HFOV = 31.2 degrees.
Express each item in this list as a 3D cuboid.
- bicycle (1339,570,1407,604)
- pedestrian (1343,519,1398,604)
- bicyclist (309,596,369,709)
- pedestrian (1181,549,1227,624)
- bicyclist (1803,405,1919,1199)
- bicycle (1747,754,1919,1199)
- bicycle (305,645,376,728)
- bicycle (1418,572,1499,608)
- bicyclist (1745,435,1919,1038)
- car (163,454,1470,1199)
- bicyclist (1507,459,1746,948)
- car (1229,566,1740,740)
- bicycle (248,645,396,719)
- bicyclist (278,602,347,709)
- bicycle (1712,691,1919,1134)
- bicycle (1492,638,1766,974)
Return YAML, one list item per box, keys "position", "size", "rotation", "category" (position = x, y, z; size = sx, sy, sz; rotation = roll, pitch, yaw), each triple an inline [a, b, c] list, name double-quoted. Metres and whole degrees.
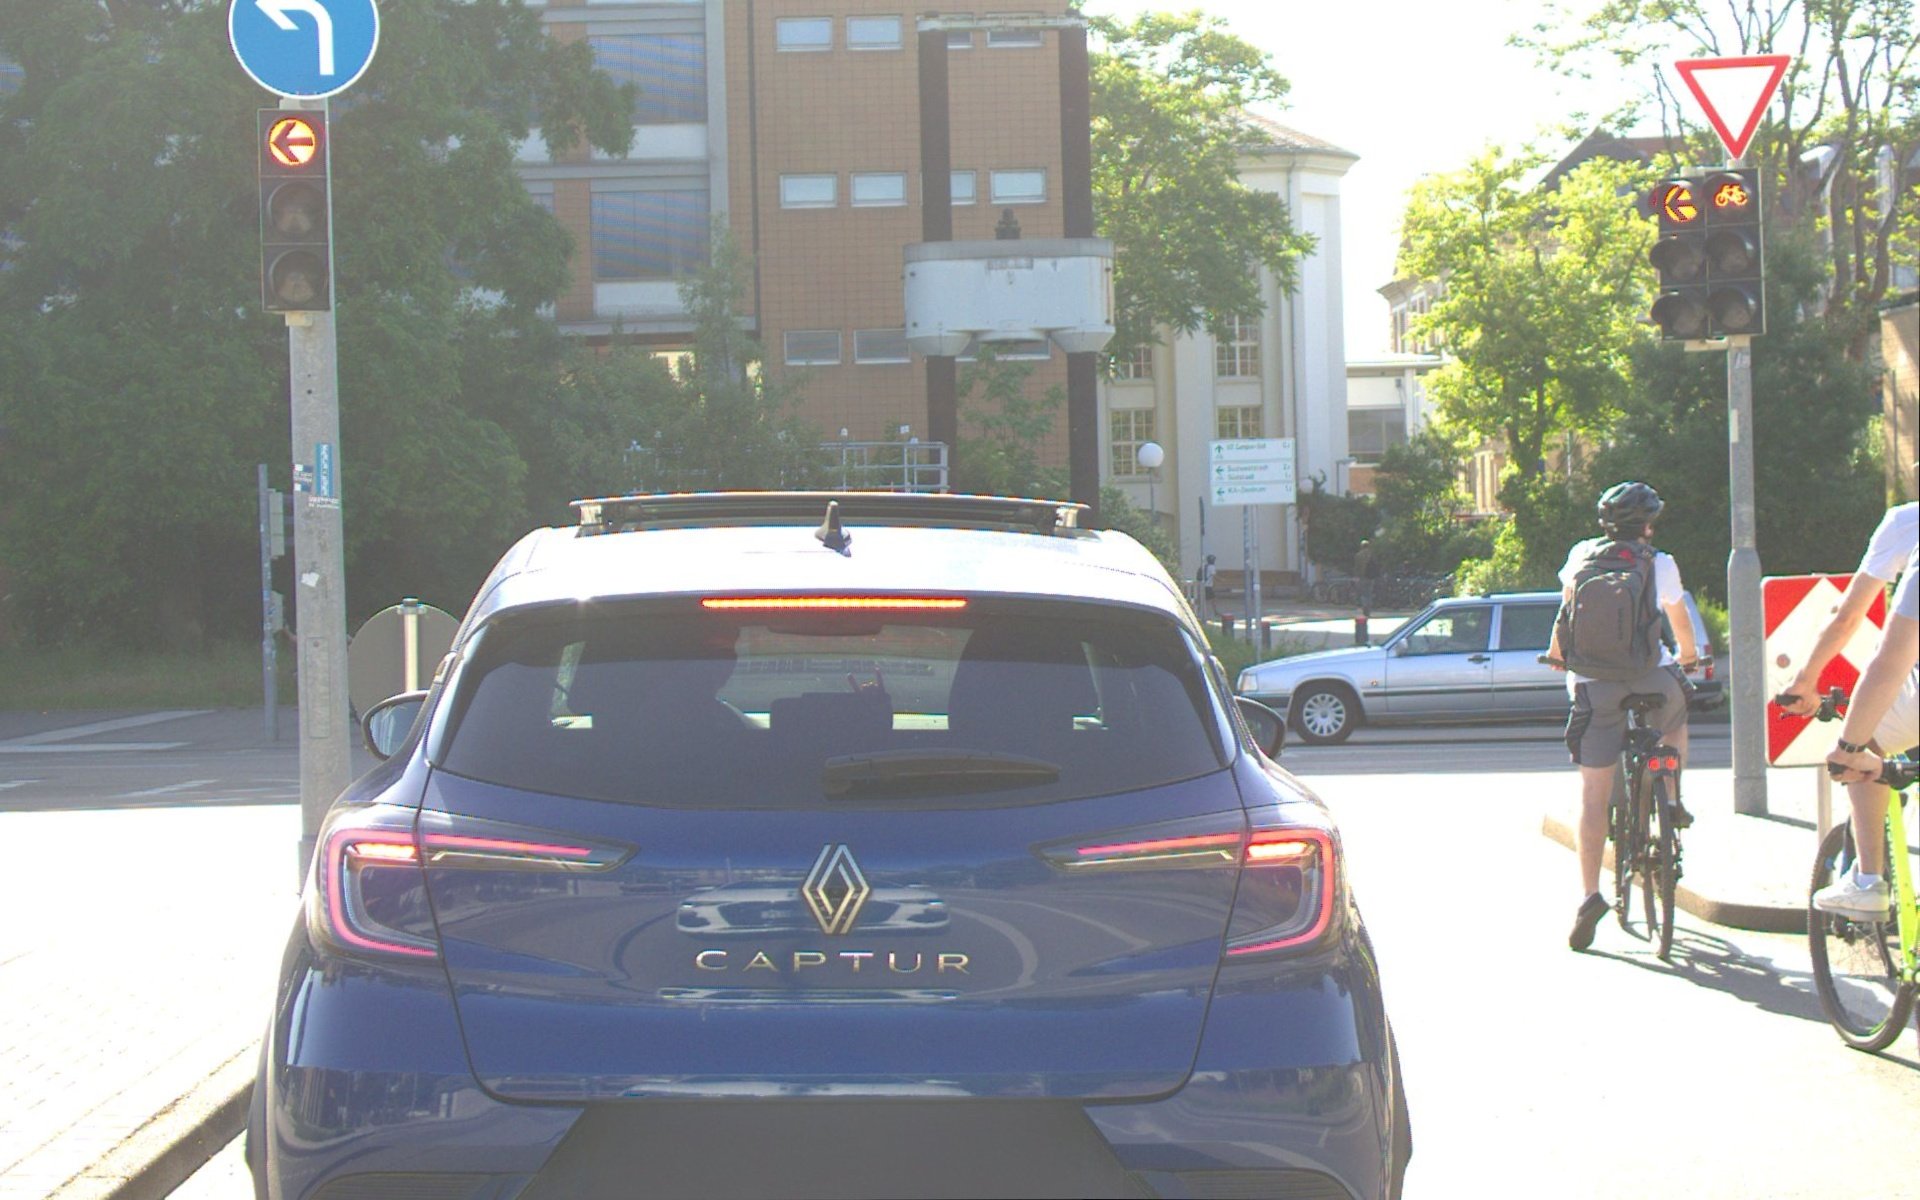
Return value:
- position: [11.399, -0.349, 94.847]
  size: [1.771, 0.895, 0.765]
  rotation: [-1, 1, 0]
  category: "bicycle"
- position: [9.905, -0.936, 83.033]
  size: [1.156, 2.007, 1.164]
  rotation: [-1, 1, 0]
  category: "pedestrian"
- position: [-7.934, 0.676, 43.903]
  size: [0.647, 1.407, 0.639]
  rotation: [-1, -2, -16]
  category: "bicyclist"
- position: [6.619, -0.369, 93.155]
  size: [1.151, 2.007, 0.951]
  rotation: [-1, 1, 6]
  category: "pedestrian"
- position: [2.272, 0.435, 7.213]
  size: [0.740, 1.668, 0.866]
  rotation: [-1, 1, -2]
  category: "bicyclist"
- position: [2.286, 0.903, 7.239]
  size: [0.747, 1.047, 1.903]
  rotation: [-1, 1, -2]
  category: "bicycle"
- position: [-7.930, 1.116, 43.954]
  size: [0.698, 1.004, 1.868]
  rotation: [-2, -2, -16]
  category: "bicycle"
- position: [12.030, -0.235, 83.045]
  size: [1.770, 0.820, 0.766]
  rotation: [-1, 1, -10]
  category: "bicycle"
- position: [2.666, 0.354, 9.542]
  size: [0.674, 1.577, 1.081]
  rotation: [1, 1, -1]
  category: "bicyclist"
- position: [-0.249, 0.593, 6.670]
  size: [1.794, 1.649, 3.853]
  rotation: [0, 1, -2]
  category: "car"
- position: [2.508, 0.377, 13.017]
  size: [0.676, 1.779, 0.940]
  rotation: [1, 0, -2]
  category: "bicyclist"
- position: [5.171, 0.509, 34.271]
  size: [4.865, 1.588, 1.938]
  rotation: [-1, 1, 7]
  category: "car"
- position: [-8.542, 1.099, 46.025]
  size: [1.867, 0.955, 0.623]
  rotation: [-1, 1, 19]
  category: "bicycle"
- position: [-8.671, 0.737, 46.058]
  size: [0.637, 1.407, 0.648]
  rotation: [-1, 1, 19]
  category: "bicyclist"
- position: [2.675, 0.818, 9.622]
  size: [0.671, 1.047, 1.844]
  rotation: [1, 1, -2]
  category: "bicycle"
- position: [2.498, 0.734, 13.017]
  size: [0.615, 1.134, 1.826]
  rotation: [0, 1, -2]
  category: "bicycle"
